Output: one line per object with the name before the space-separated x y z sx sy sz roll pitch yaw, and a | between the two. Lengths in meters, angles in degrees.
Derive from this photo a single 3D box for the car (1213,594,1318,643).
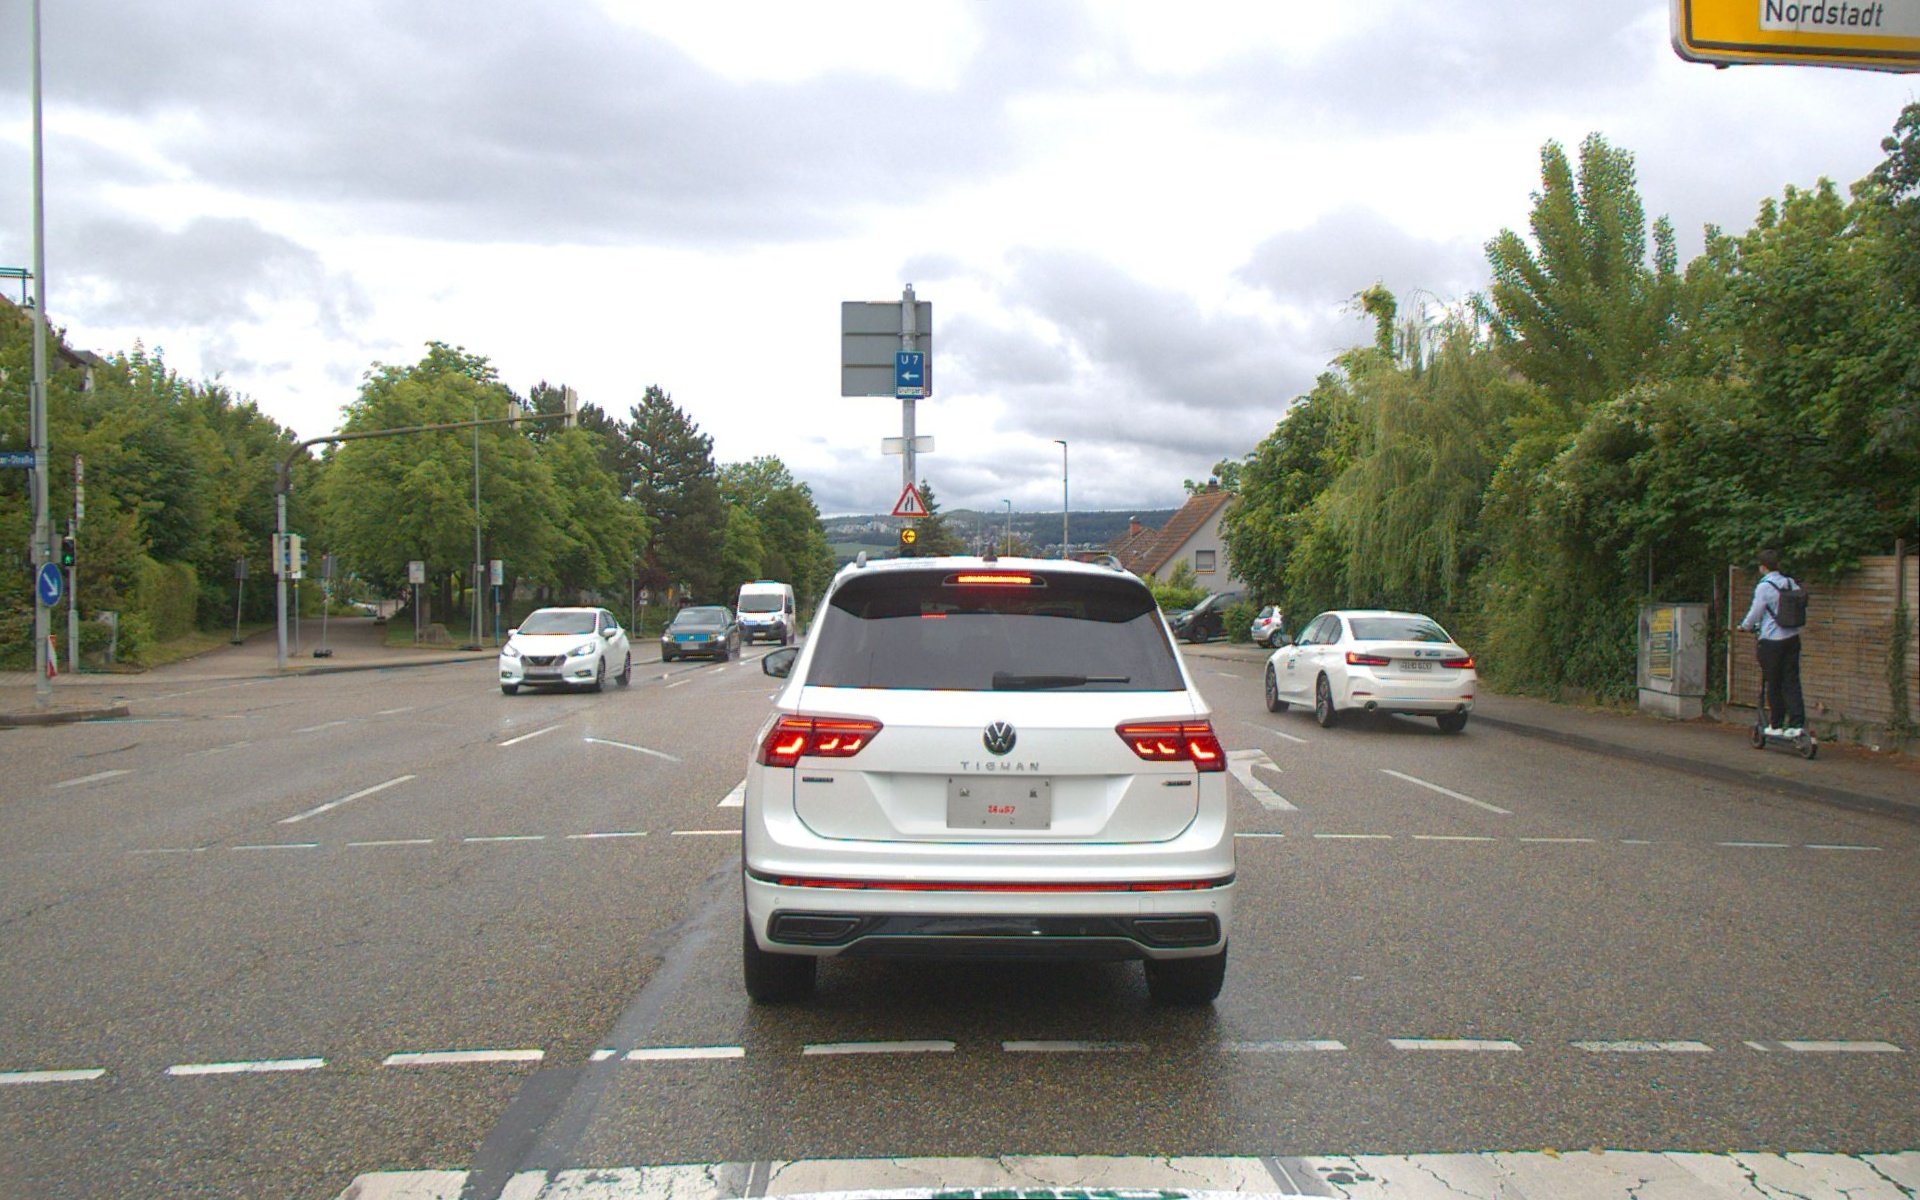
car | 11.442 0.686 62.050 3.556 1.777 1.707 0 2 -5

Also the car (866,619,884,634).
car | -10.417 3.239 203.278 1.953 1.758 3.999 2 0 -1

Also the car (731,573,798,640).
car | -7.922 0.242 67.563 2.251 2.572 5.771 -1 0 -3

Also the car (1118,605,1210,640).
car | 8.524 0.945 69.233 3.613 1.394 1.518 1 -2 -3

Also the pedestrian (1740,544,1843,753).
pedestrian | 8.289 0.476 16.508 0.642 2.037 0.717 0 0 -4

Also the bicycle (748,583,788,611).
bicycle | -8.195 -0.114 70.680 1.603 1.145 0.468 -2 1 -3

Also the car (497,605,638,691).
car | -6.941 0.808 29.578 1.711 1.421 3.801 0 0 -2

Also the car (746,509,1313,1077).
car | 0.165 0.604 7.319 1.727 1.725 4.271 2 0 -2

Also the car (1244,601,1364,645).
car | 11.762 0.793 56.624 3.644 1.420 1.725 -1 -1 -8

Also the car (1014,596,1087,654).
car | 2.656 0.720 49.289 1.701 1.602 4.066 1 0 -3

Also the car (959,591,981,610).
car | 0.884 0.035 145.766 1.813 1.602 3.999 -1 0 -1

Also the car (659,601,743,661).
car | -7.158 0.819 46.056 1.740 1.528 4.470 -2 0 -2

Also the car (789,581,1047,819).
car | -0.304 0.688 13.394 1.762 1.617 3.926 1 0 0

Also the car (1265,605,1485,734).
car | 5.320 0.831 21.752 1.631 1.452 4.303 2 0 -2

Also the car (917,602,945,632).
car | -1.803 1.054 101.692 1.677 1.789 3.800 0 0 -2

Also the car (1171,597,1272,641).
car | 10.179 0.733 64.402 3.556 1.654 1.790 1 1 -5

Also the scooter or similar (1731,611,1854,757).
scooter or similar | 8.286 0.810 16.505 0.452 1.385 1.383 0 0 -4
